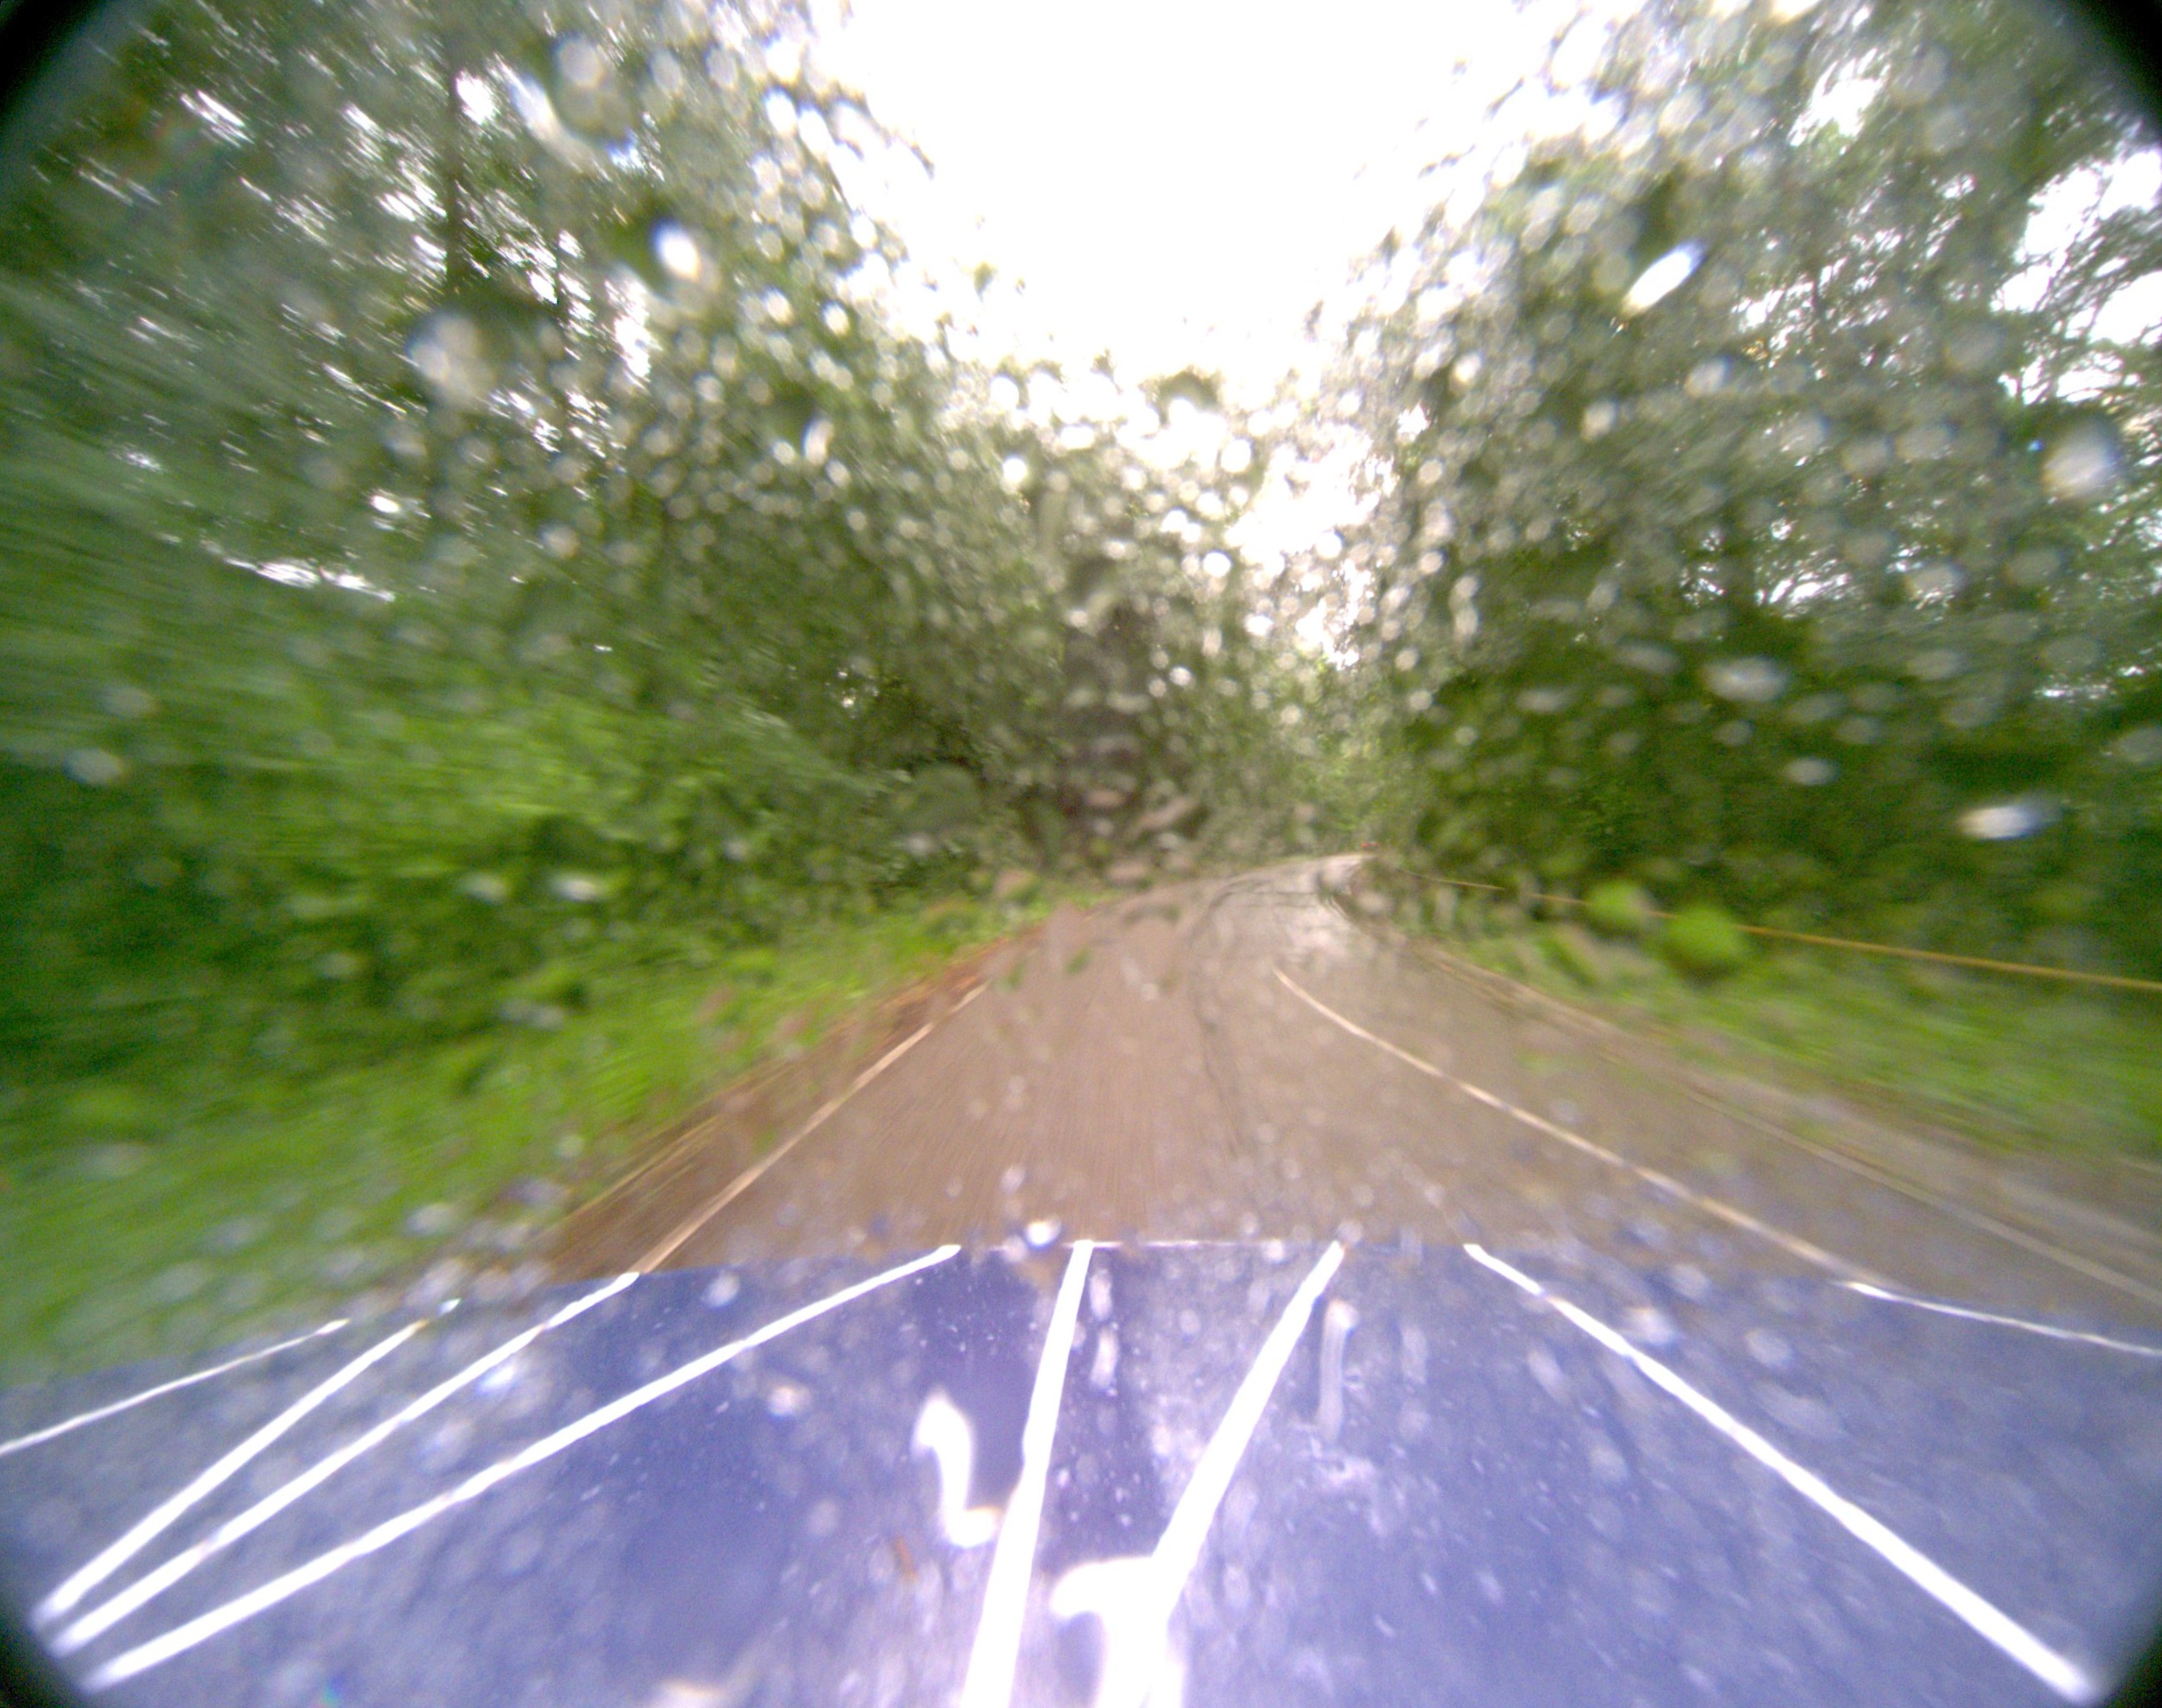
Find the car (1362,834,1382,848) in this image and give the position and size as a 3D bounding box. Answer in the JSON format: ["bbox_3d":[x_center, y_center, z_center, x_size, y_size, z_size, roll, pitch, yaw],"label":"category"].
[{"bbox_3d":[39.166,-1.715,102.257,1.995,1.740,4.007,-2,1,28],"label":"car"}]
